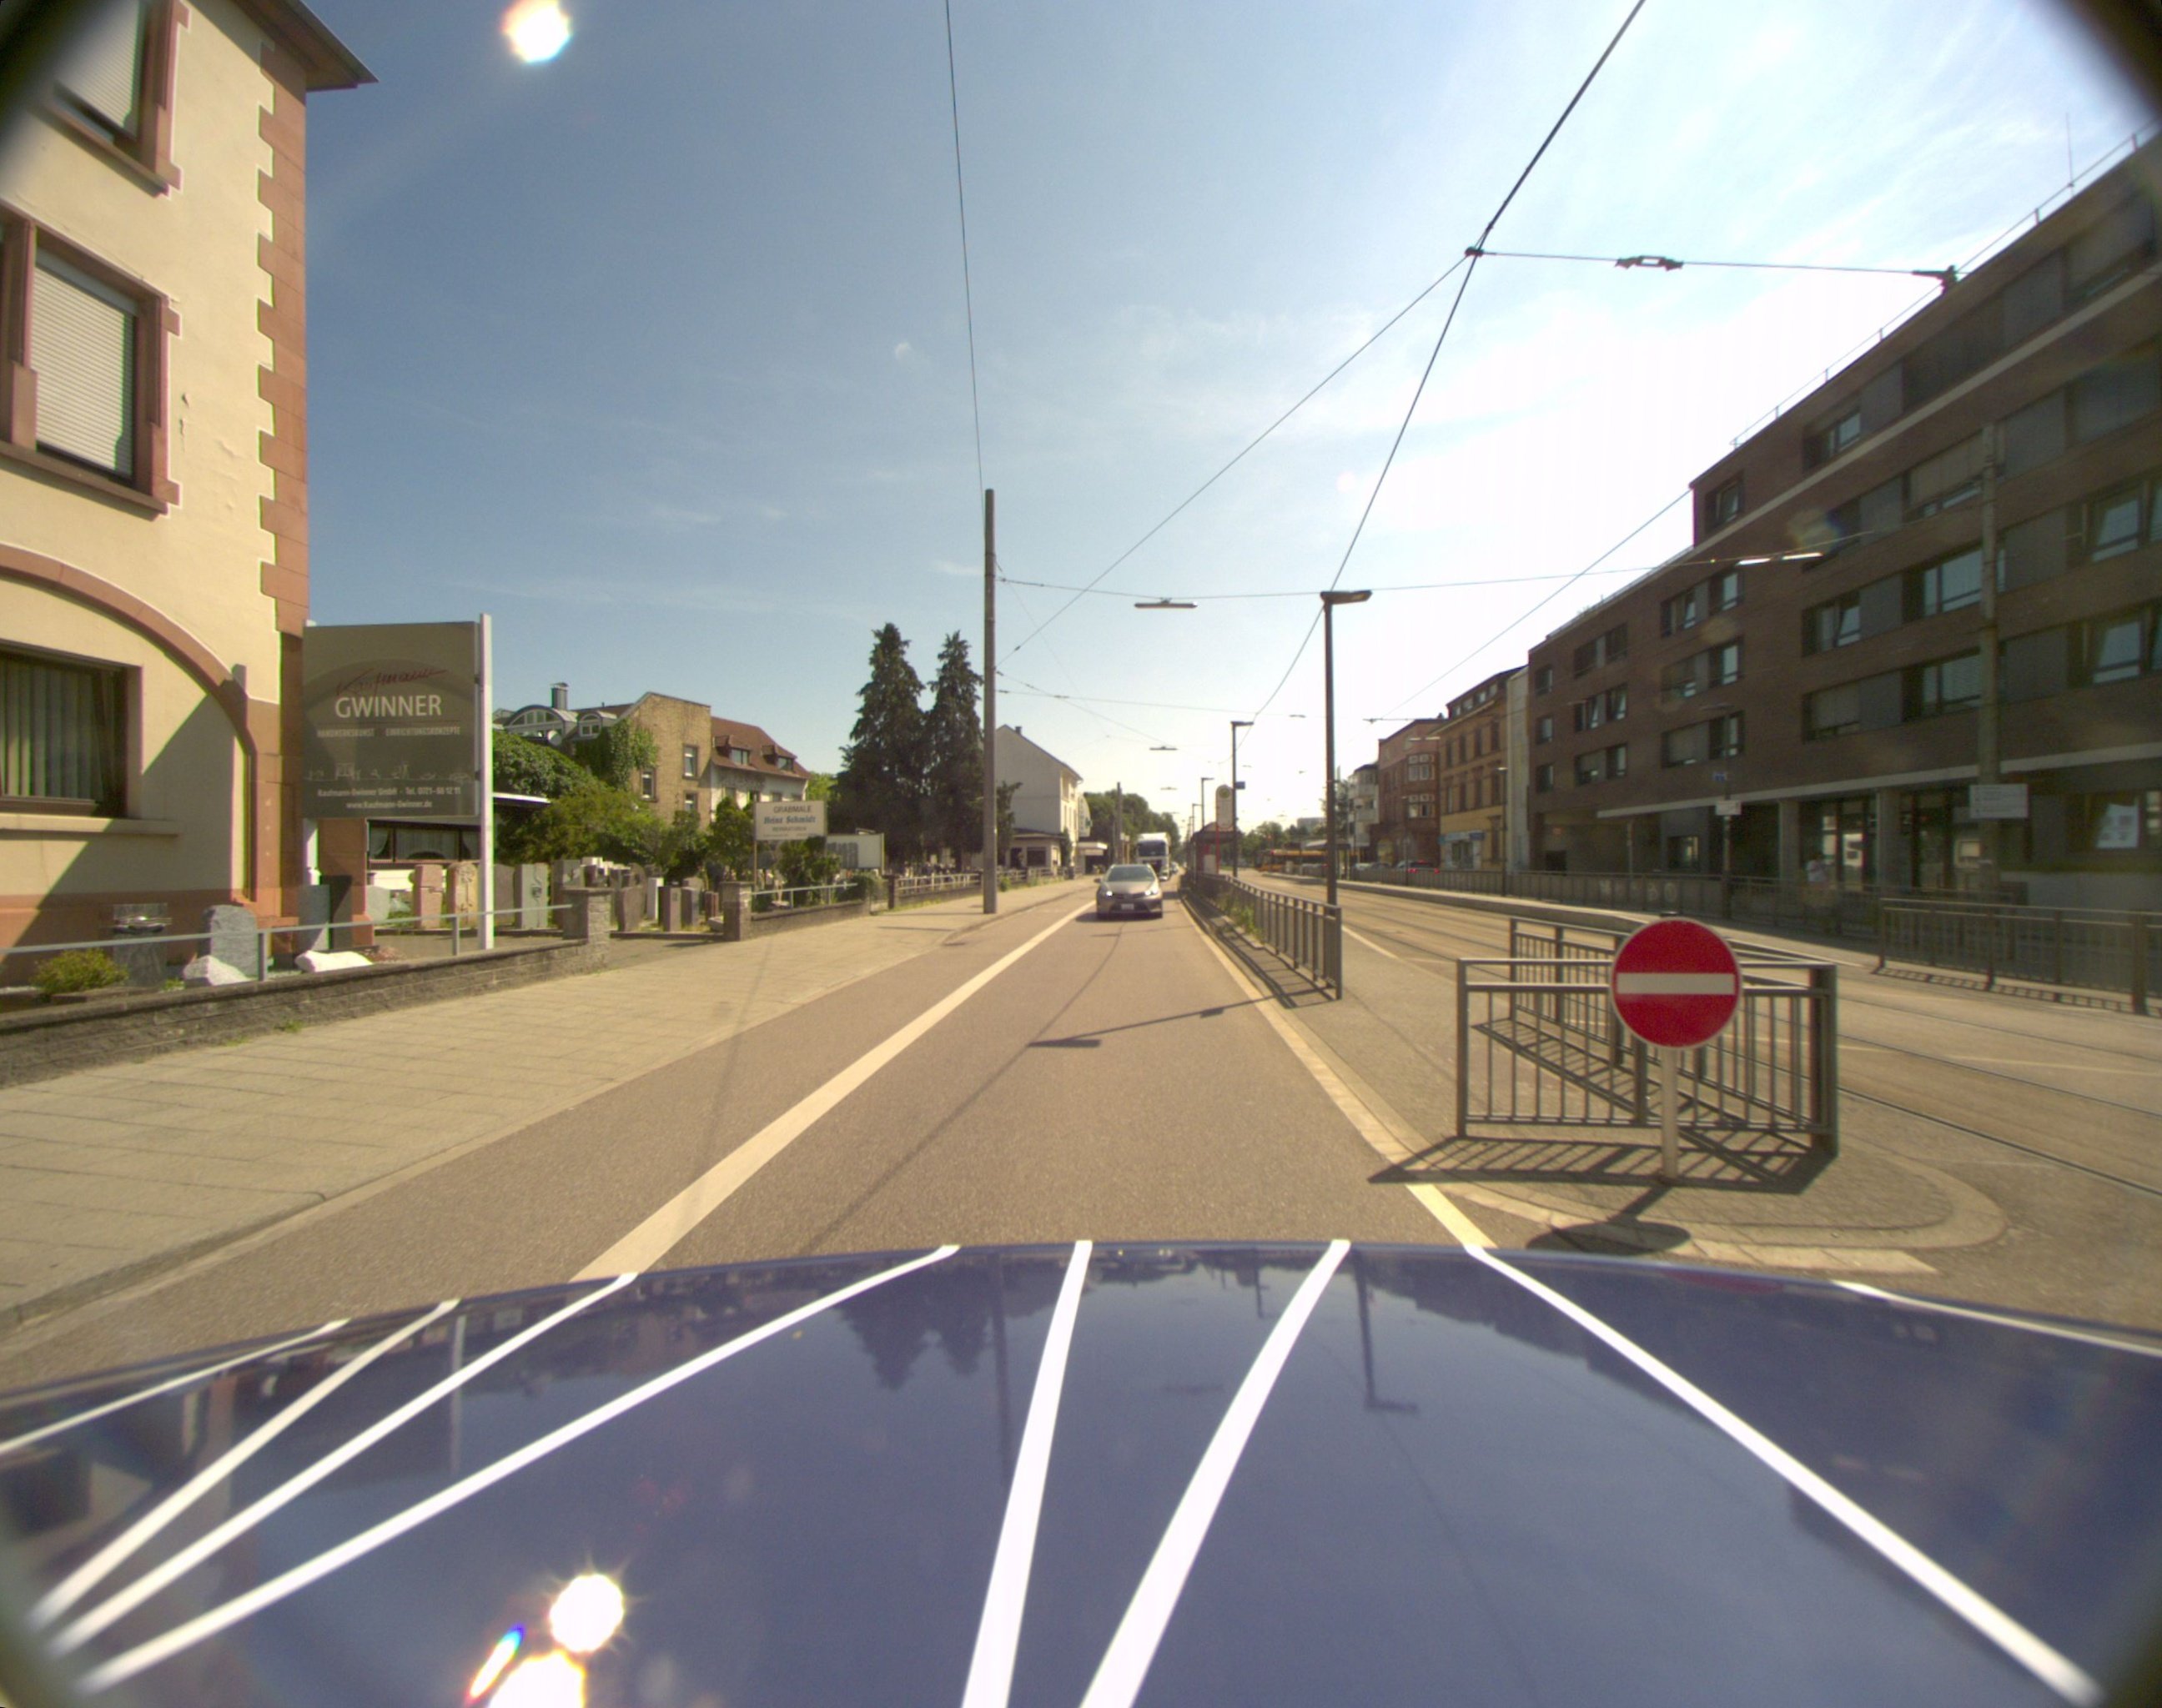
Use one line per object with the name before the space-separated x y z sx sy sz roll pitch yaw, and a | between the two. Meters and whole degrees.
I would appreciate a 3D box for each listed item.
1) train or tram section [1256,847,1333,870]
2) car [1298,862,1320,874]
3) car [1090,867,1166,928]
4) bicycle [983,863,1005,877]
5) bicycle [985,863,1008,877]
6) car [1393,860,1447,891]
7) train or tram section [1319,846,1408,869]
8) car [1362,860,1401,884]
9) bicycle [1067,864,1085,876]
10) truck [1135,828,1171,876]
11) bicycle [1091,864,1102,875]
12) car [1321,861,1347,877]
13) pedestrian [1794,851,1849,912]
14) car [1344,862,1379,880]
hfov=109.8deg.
train or tram section | 33.670 0.647 119.556 13.358 3.460 2.682 0 0 -28
car | 25.560 1.525 85.318 1.715 1.236 4.081 -2 -1 7
car | 1.380 1.100 20.685 1.694 1.440 4.484 -1 -1 8
bicycle | -7.190 1.296 62.553 1.688 1.104 0.513 1 0 9
bicycle | -6.835 1.289 61.443 1.795 1.104 0.513 1 0 11
car | 20.118 1.237 45.262 1.804 1.718 4.192 -2 -1 8
train or tram section | 45.477 0.571 122.497 13.327 3.460 2.689 0 0 1
car | 21.550 1.283 54.603 1.715 1.612 3.581 -1 -1 8
bicycle | -0.429 1.440 68.094 1.529 1.051 0.398 3 0 9
truck | 6.163 -0.102 63.887 2.655 3.772 7.869 0 0 8
bicycle | 1.667 1.577 79.126 0.511 1.127 1.693 0 0 25
car | 23.442 1.405 70.494 1.629 1.460 3.868 -1 -1 8
pedestrian | 22.589 0.827 23.195 0.846 1.808 0.839 -1 0 8
car | 22.650 1.345 61.439 1.634 1.355 4.524 0 0 7
